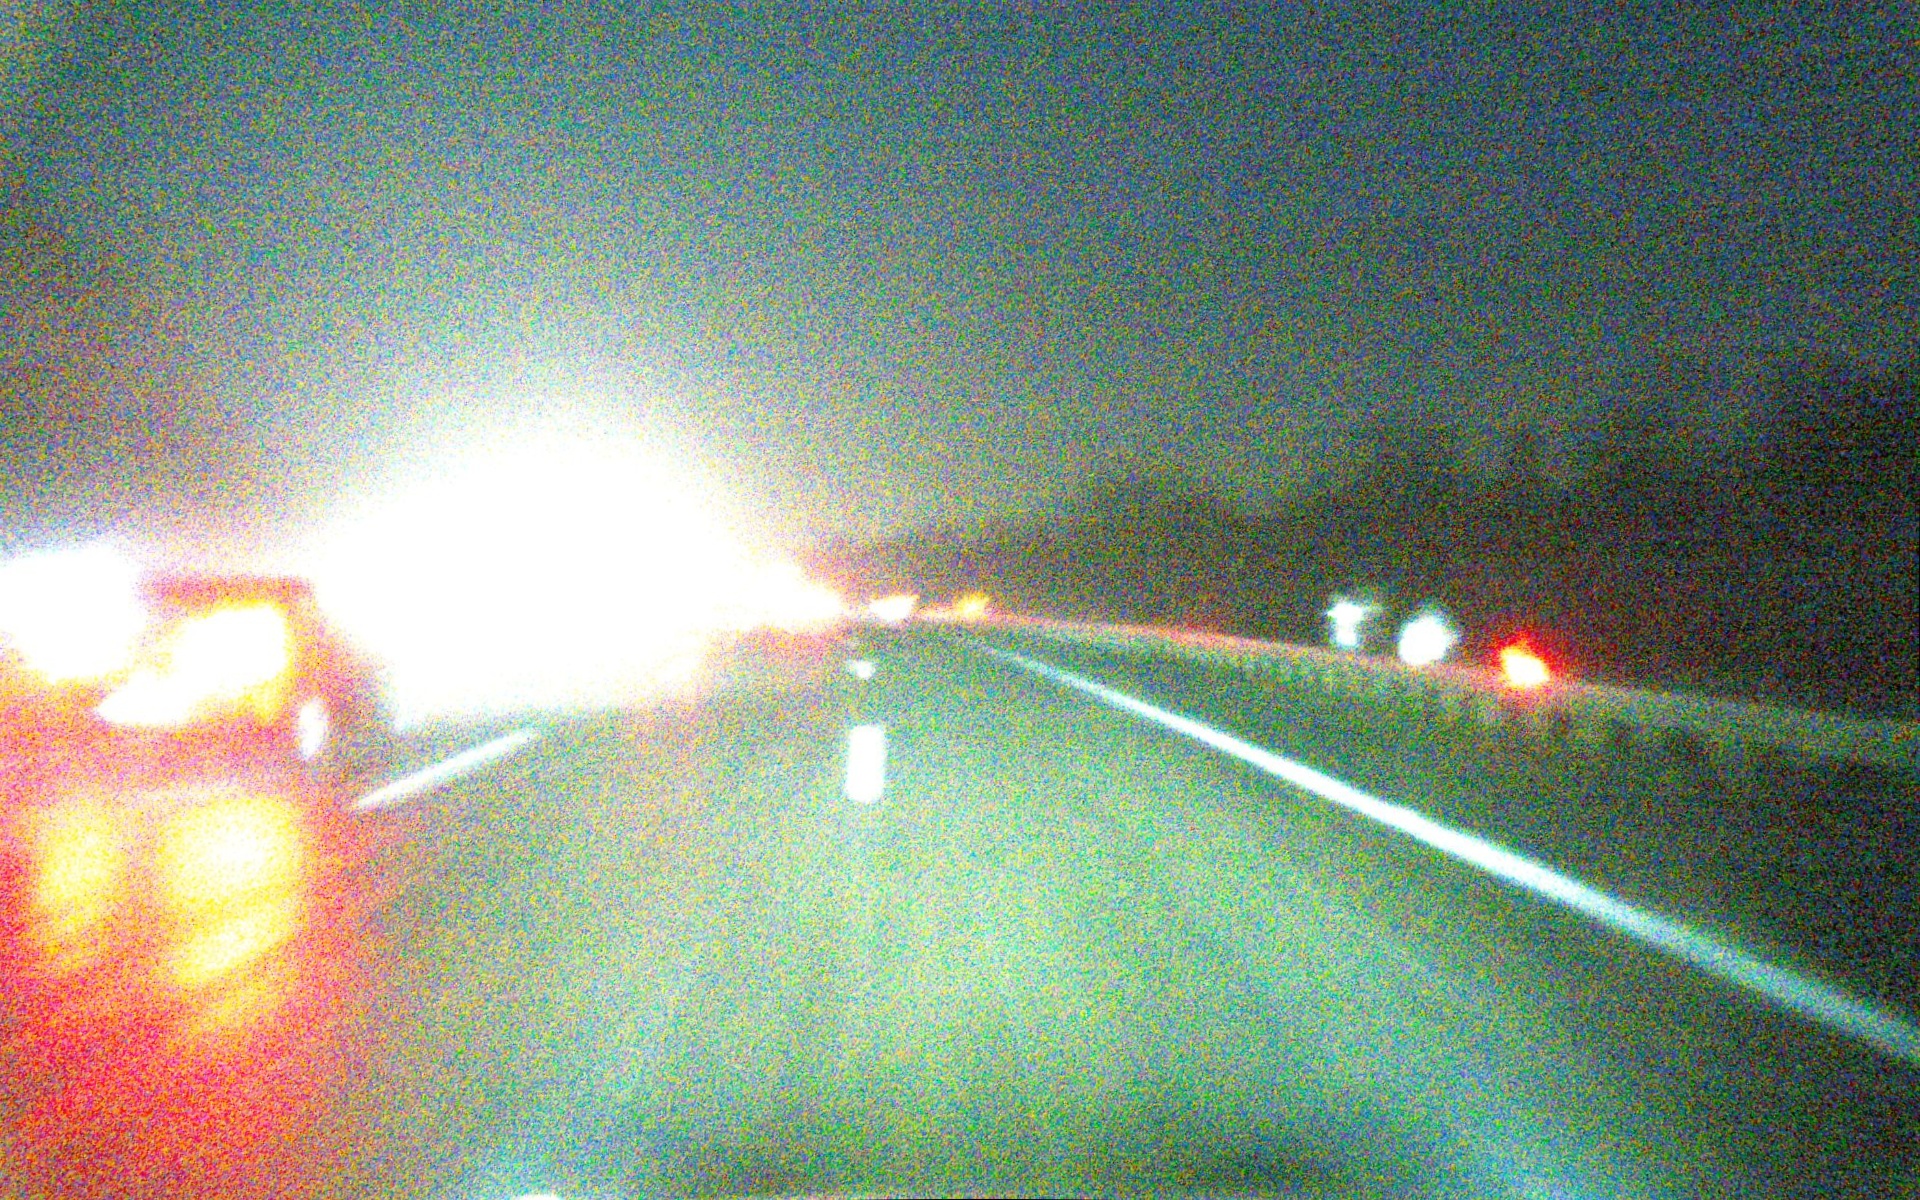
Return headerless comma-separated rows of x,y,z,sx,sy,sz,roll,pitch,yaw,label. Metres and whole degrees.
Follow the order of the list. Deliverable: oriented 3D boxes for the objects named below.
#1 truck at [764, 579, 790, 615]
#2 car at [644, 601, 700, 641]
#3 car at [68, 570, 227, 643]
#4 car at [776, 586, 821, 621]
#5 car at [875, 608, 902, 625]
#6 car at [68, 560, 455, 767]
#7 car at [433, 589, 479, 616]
-16.679,-0.215,150.606,1.957,3.096,6.449,1,-1,-10,truck
-9.669,0.721,55.772,1.630,1.258,3.755,1,-1,-7,car
-19.872,0.155,40.697,1.736,1.660,4.700,1,0,-2,car
-7.242,0.158,74.502,1.765,1.513,3.998,0,0,-2,car
-5.888,1.385,135.669,1.555,1.268,3.056,5,-2,-15,car
-6.446,0.535,15.945,1.821,1.567,4.747,4,-1,-3,car
-24.827,0.102,81.556,1.377,1.288,4.066,1,0,-6,car
